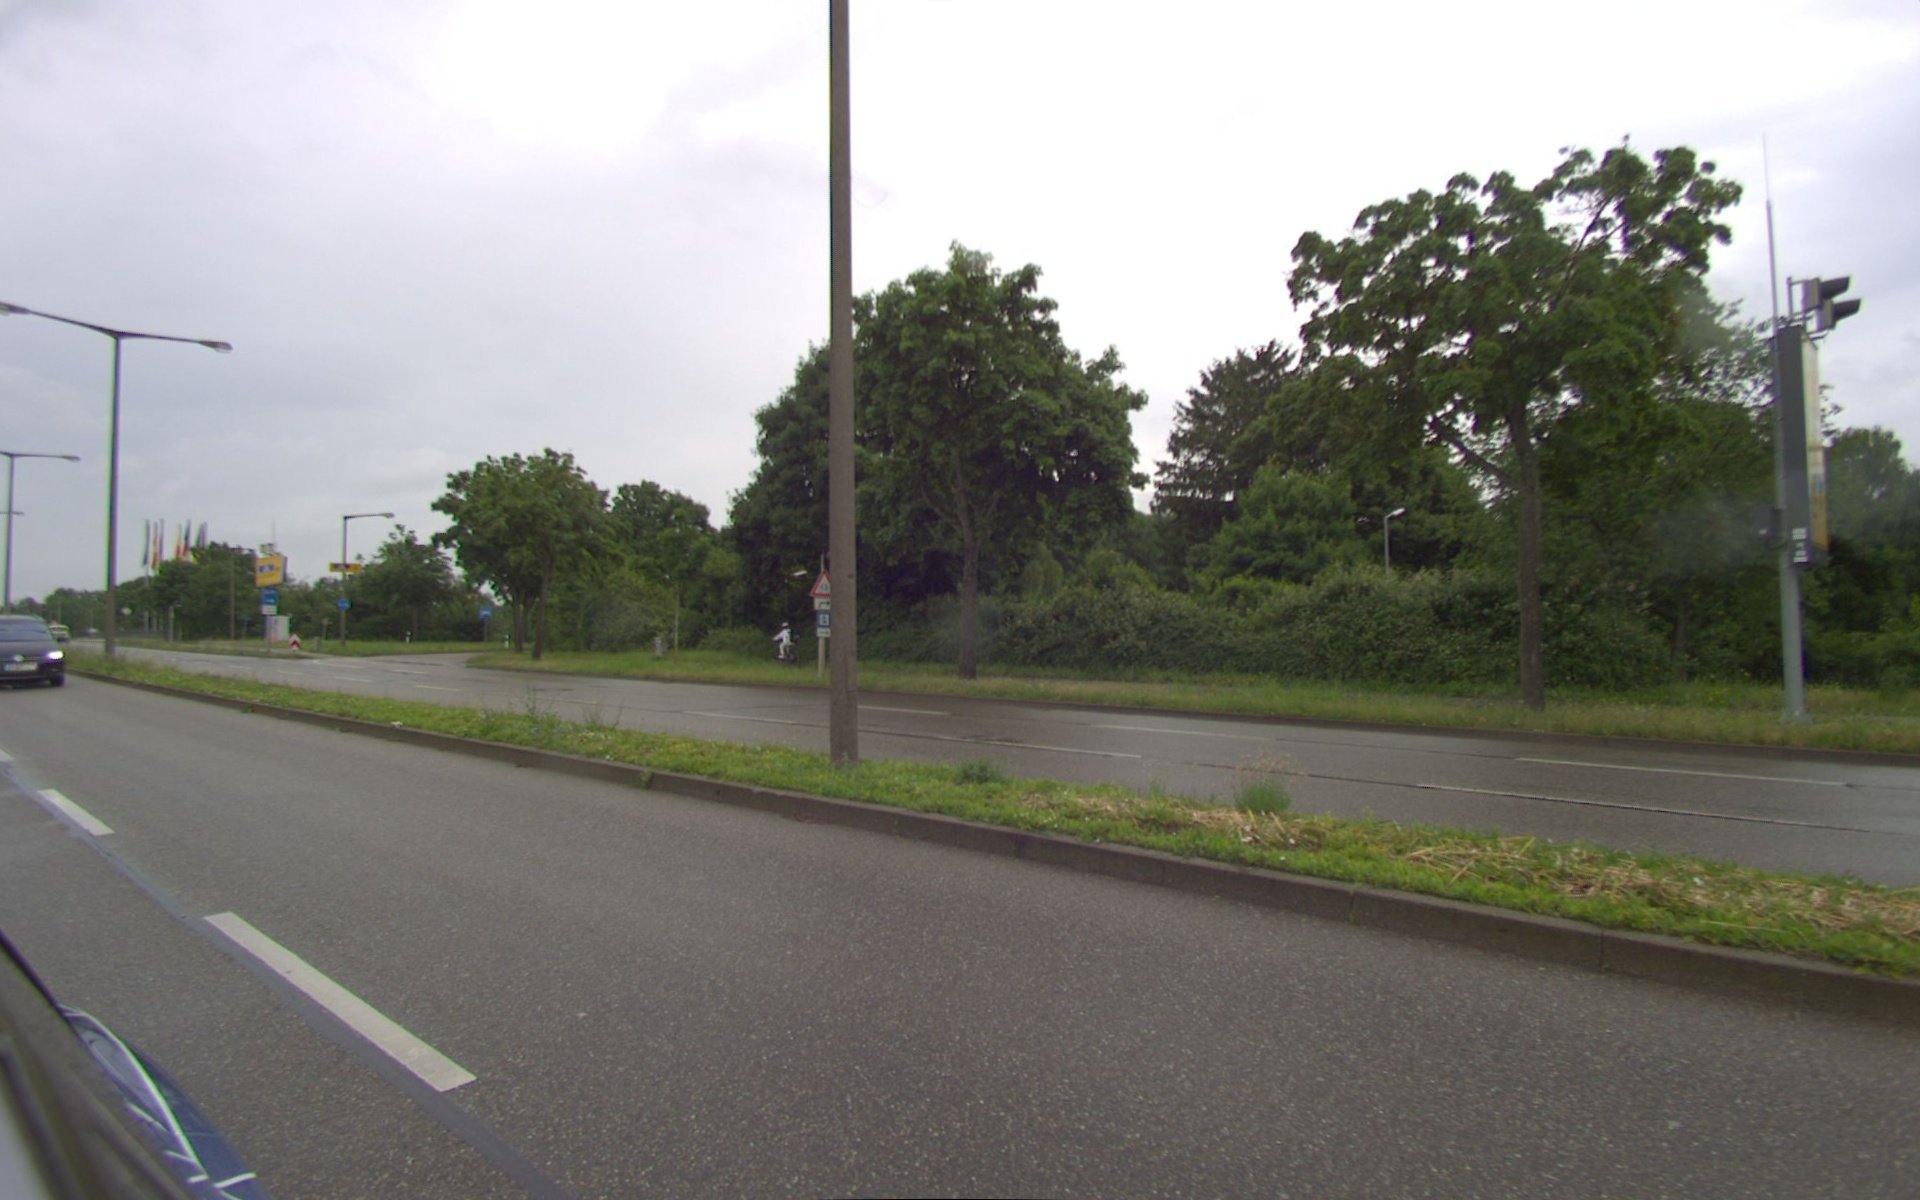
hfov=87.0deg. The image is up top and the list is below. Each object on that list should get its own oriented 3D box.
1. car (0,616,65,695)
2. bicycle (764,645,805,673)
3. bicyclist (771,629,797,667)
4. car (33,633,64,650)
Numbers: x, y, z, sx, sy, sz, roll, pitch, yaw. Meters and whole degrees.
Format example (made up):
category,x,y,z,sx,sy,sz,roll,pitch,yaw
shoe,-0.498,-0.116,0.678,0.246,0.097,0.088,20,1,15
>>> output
category,x,y,z,sx,sy,sz,roll,pitch,yaw
car,-23.233,1.311,24.319,4.812,1.764,1.827,-2,-1,39
bicycle,-6.158,2.052,35.400,1.633,0.892,0.516,-2,-1,42
bicyclist,-6.160,1.672,35.404,0.808,1.312,0.516,-2,-1,42
car,-88.098,4.004,97.753,4.491,1.642,1.689,-2,-4,42
